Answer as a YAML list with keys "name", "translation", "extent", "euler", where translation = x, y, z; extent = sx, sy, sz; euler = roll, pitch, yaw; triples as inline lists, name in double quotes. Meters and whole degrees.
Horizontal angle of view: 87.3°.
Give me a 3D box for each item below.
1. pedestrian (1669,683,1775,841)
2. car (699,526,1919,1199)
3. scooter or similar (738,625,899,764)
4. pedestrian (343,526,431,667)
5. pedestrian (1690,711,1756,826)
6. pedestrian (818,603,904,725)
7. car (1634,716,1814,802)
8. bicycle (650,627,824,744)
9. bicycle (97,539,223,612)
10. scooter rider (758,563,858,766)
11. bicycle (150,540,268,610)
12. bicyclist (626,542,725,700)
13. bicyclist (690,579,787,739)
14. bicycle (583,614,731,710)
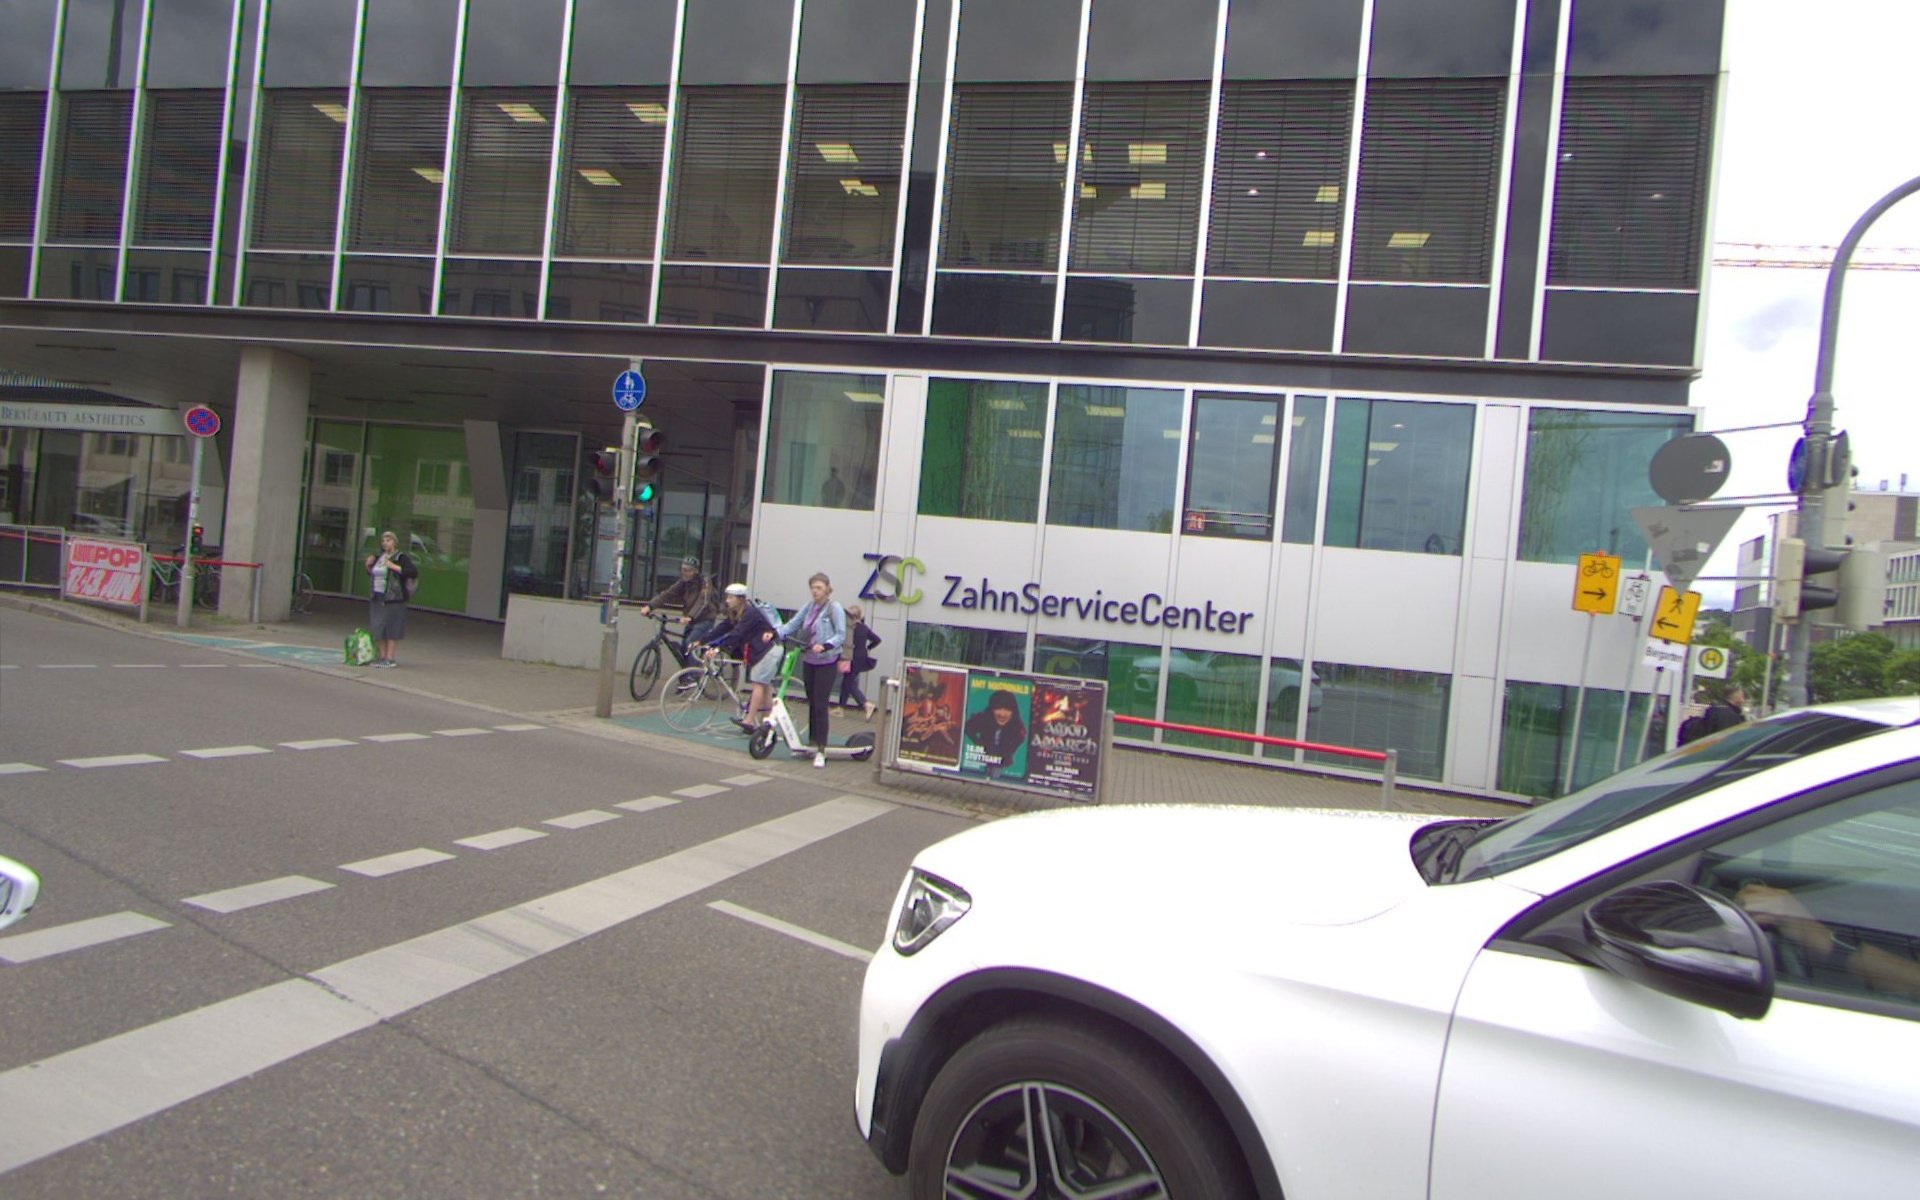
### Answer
- name: "pedestrian"
  translation: [9.184, 1.933, 12.146]
  extent: [0.625, 1.769, 0.591]
  euler: [6, 0, 0]
- name: "car"
  translation: [1.699, 0.903, 2.000]
  extent: [4.264, 1.667, 1.802]
  euler: [6, 1, 34]
- name: "scooter or similar"
  translation: [-1.351, 0.900, 9.596]
  extent: [1.306, 1.191, 0.589]
  euler: [6, 1, -25]
- name: "pedestrian"
  translation: [-7.374, -0.042, 12.962]
  extent: [0.738, 1.734, 0.526]
  euler: [5, 1, 11]
- name: "pedestrian"
  translation: [12.244, 2.679, 16.154]
  extent: [0.626, 1.699, 0.589]
  euler: [7, 0, 32]
- name: "pedestrian"
  translation: [-1.279, 0.817, 13.061]
  extent: [0.823, 1.461, 0.606]
  euler: [6, 1, 12]
- name: "car"
  translation: [21.058, 4.341, 27.962]
  extent: [1.962, 1.692, 4.004]
  euler: [7, -2, 4]
- name: "bicycle"
  translation: [-2.319, 0.888, 10.545]
  extent: [1.642, 1.040, 0.580]
  euler: [6, 1, -13]
- name: "bicycle"
  translation: [-13.731, -0.404, 17.299]
  extent: [1.460, 1.060, 0.714]
  euler: [7, 0, -4]
- name: "scooter rider"
  translation: [-1.446, 0.599, 9.530]
  extent: [0.635, 1.832, 0.589]
  euler: [5, 1, -25]
- name: "bicycle"
  translation: [-13.490, -0.439, 18.097]
  extent: [1.460, 1.060, 0.714]
  euler: [7, 0, -4]
- name: "bicyclist"
  translation: [-3.588, 0.272, 12.717]
  extent: [0.663, 1.868, 0.813]
  euler: [6, 0, 25]
- name: "bicyclist"
  translation: [-2.314, 0.607, 10.528]
  extent: [0.832, 1.569, 0.564]
  euler: [5, 1, -12]
- name: "bicycle"
  translation: [-3.725, 0.749, 12.530]
  extent: [0.668, 1.020, 1.765]
  euler: [8, 2, 25]
